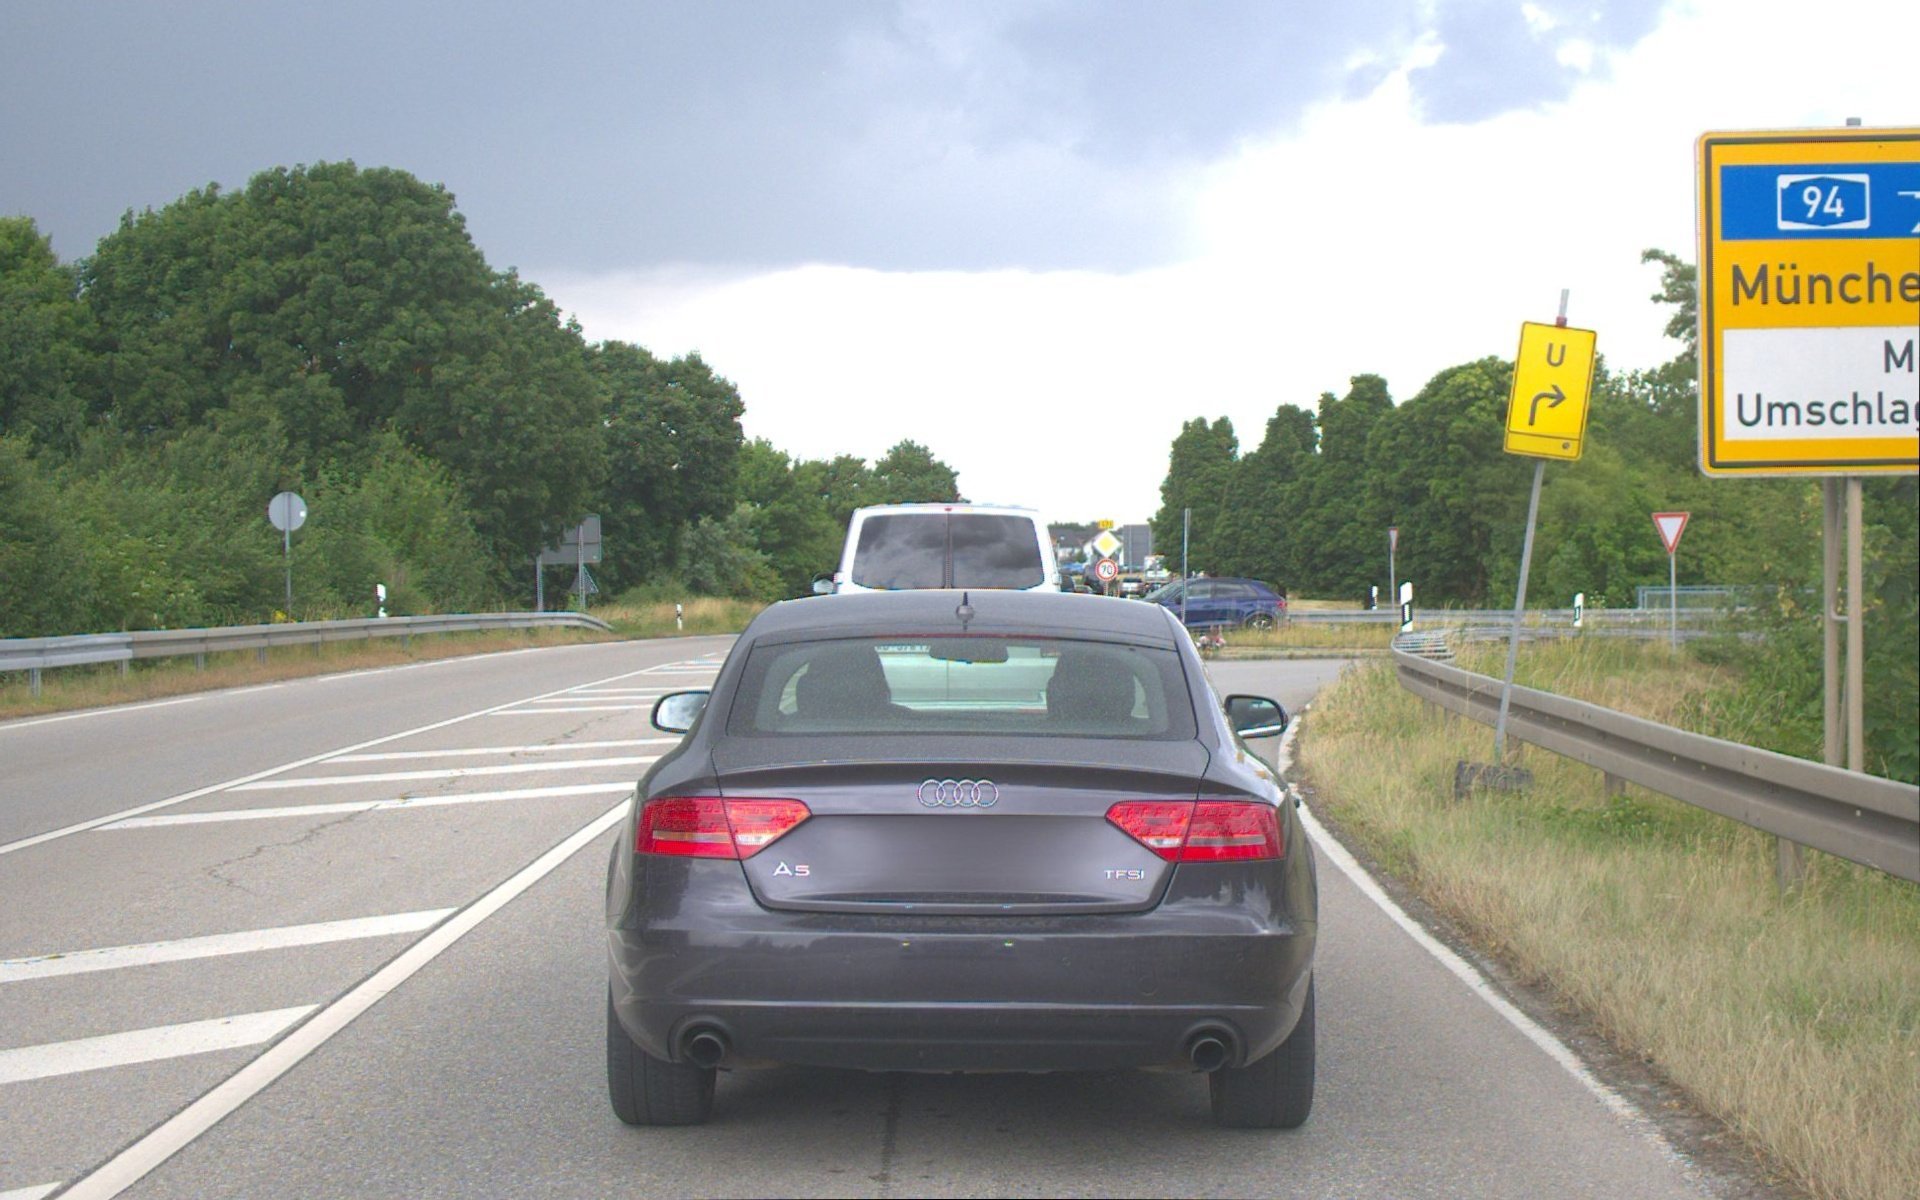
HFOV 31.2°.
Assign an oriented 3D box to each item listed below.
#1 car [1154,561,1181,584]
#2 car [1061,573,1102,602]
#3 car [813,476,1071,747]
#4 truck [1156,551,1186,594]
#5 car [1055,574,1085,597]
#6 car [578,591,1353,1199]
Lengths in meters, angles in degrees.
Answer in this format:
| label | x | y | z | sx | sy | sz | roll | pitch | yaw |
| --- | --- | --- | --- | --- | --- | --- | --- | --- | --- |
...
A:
| label | x | y | z | sx | sy | sz | roll | pitch | yaw |
| --- | --- | --- | --- | --- | --- | --- | --- | --- | --- |
| car | 15.648 | -2.115 | 259.461 | 1.994 | 1.686 | 4.000 | 1 | 1 | 2 |
| car | 7.073 | -0.735 | 200.845 | 2.205 | 1.577 | 4.379 | 1 | 1 | 0 |
| car | -0.149 | 0.051 | 27.742 | 1.910 | 2.007 | 4.000 | 1 | 1 | 0 |
| truck | 14.782 | -1.957 | 241.057 | 1.994 | 2.908 | 5.792 | 1 | 1 | 3 |
| car | 7.175 | -0.972 | 225.175 | 1.734 | 1.449 | 4.000 | 1 | 1 | -1 |
| car | -0.004 | 0.686 | 9.584 | 1.779 | 1.394 | 3.336 | 0 | 0 | -1 |
